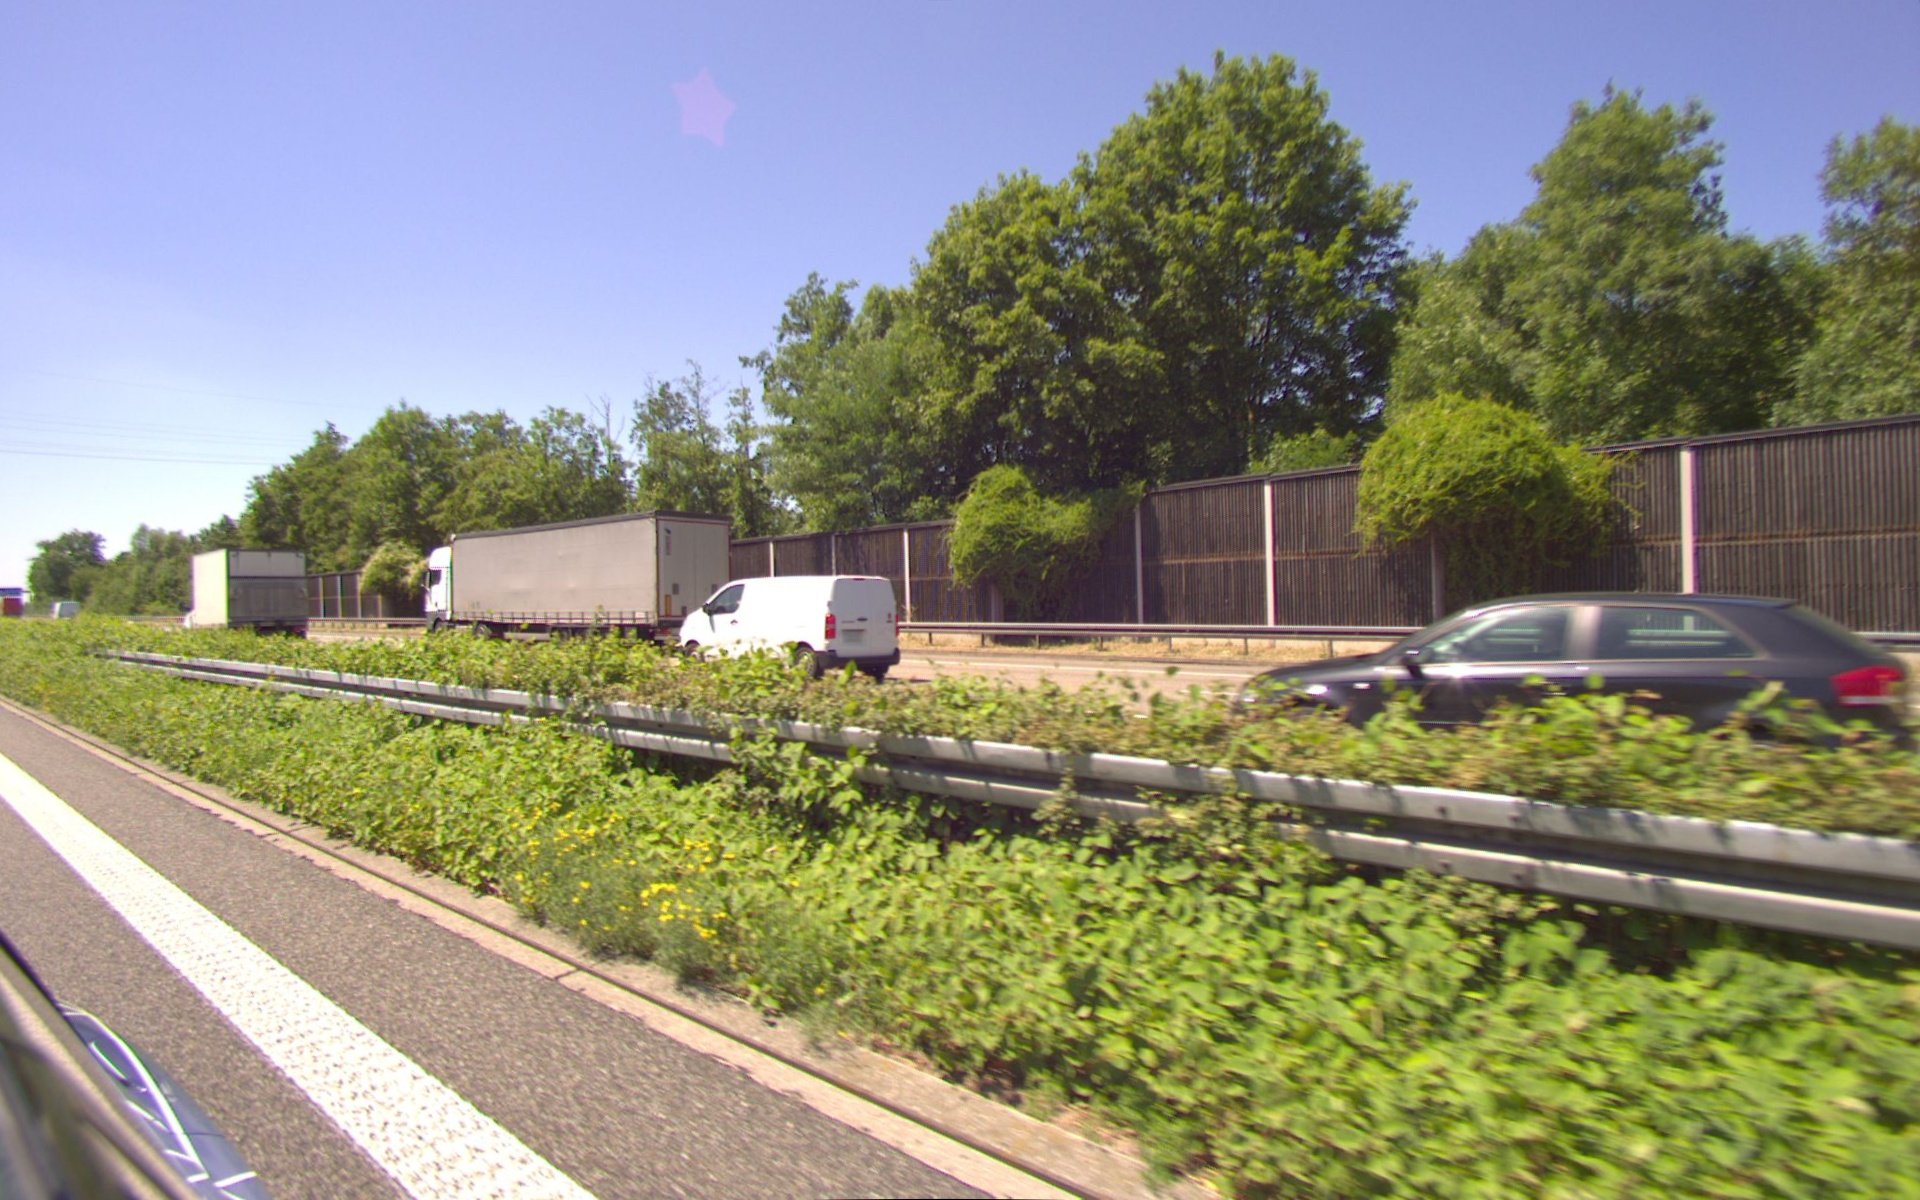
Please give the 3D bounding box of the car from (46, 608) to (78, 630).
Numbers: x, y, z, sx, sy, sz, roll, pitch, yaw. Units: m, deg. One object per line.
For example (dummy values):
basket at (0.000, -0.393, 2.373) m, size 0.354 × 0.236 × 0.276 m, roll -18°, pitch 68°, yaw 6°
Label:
car at (-99.074, 2.099, 111.630) m, size 5.410 × 2.449 × 2.003 m, roll -1°, pitch -1°, yaw 41°

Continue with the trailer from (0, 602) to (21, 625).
trailer at (-172.004, 2.457, 182.820) m, size 14.052 × 4.098 × 2.654 m, roll -1°, pitch -1°, yaw 44°

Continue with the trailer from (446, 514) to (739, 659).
trailer at (-12.506, -0.257, 32.998) m, size 13.754 × 3.939 × 2.701 m, roll -1°, pitch -1°, yaw 41°

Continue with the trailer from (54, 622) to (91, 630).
trailer at (-94.588, 2.783, 107.790) m, size 6.277 × 0.813 × 2.139 m, roll -1°, pitch -1°, yaw 41°

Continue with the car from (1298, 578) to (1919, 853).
car at (4.430, 0.604, 6.597) m, size 3.910 × 1.401 × 1.609 m, roll -1°, pitch -1°, yaw 40°

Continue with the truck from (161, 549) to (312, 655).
truck at (-24.156, 0.122, 33.584) m, size 8.529 × 3.138 × 2.171 m, roll -1°, pitch -1°, yaw 41°

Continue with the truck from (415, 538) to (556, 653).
truck at (-17.630, -0.118, 37.483) m, size 5.570 × 3.924 × 2.659 m, roll -1°, pitch -1°, yaw 41°

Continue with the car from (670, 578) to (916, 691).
car at (-3.202, 0.591, 18.743) m, size 4.814 × 1.834 × 1.848 m, roll -1°, pitch -1°, yaw 41°
